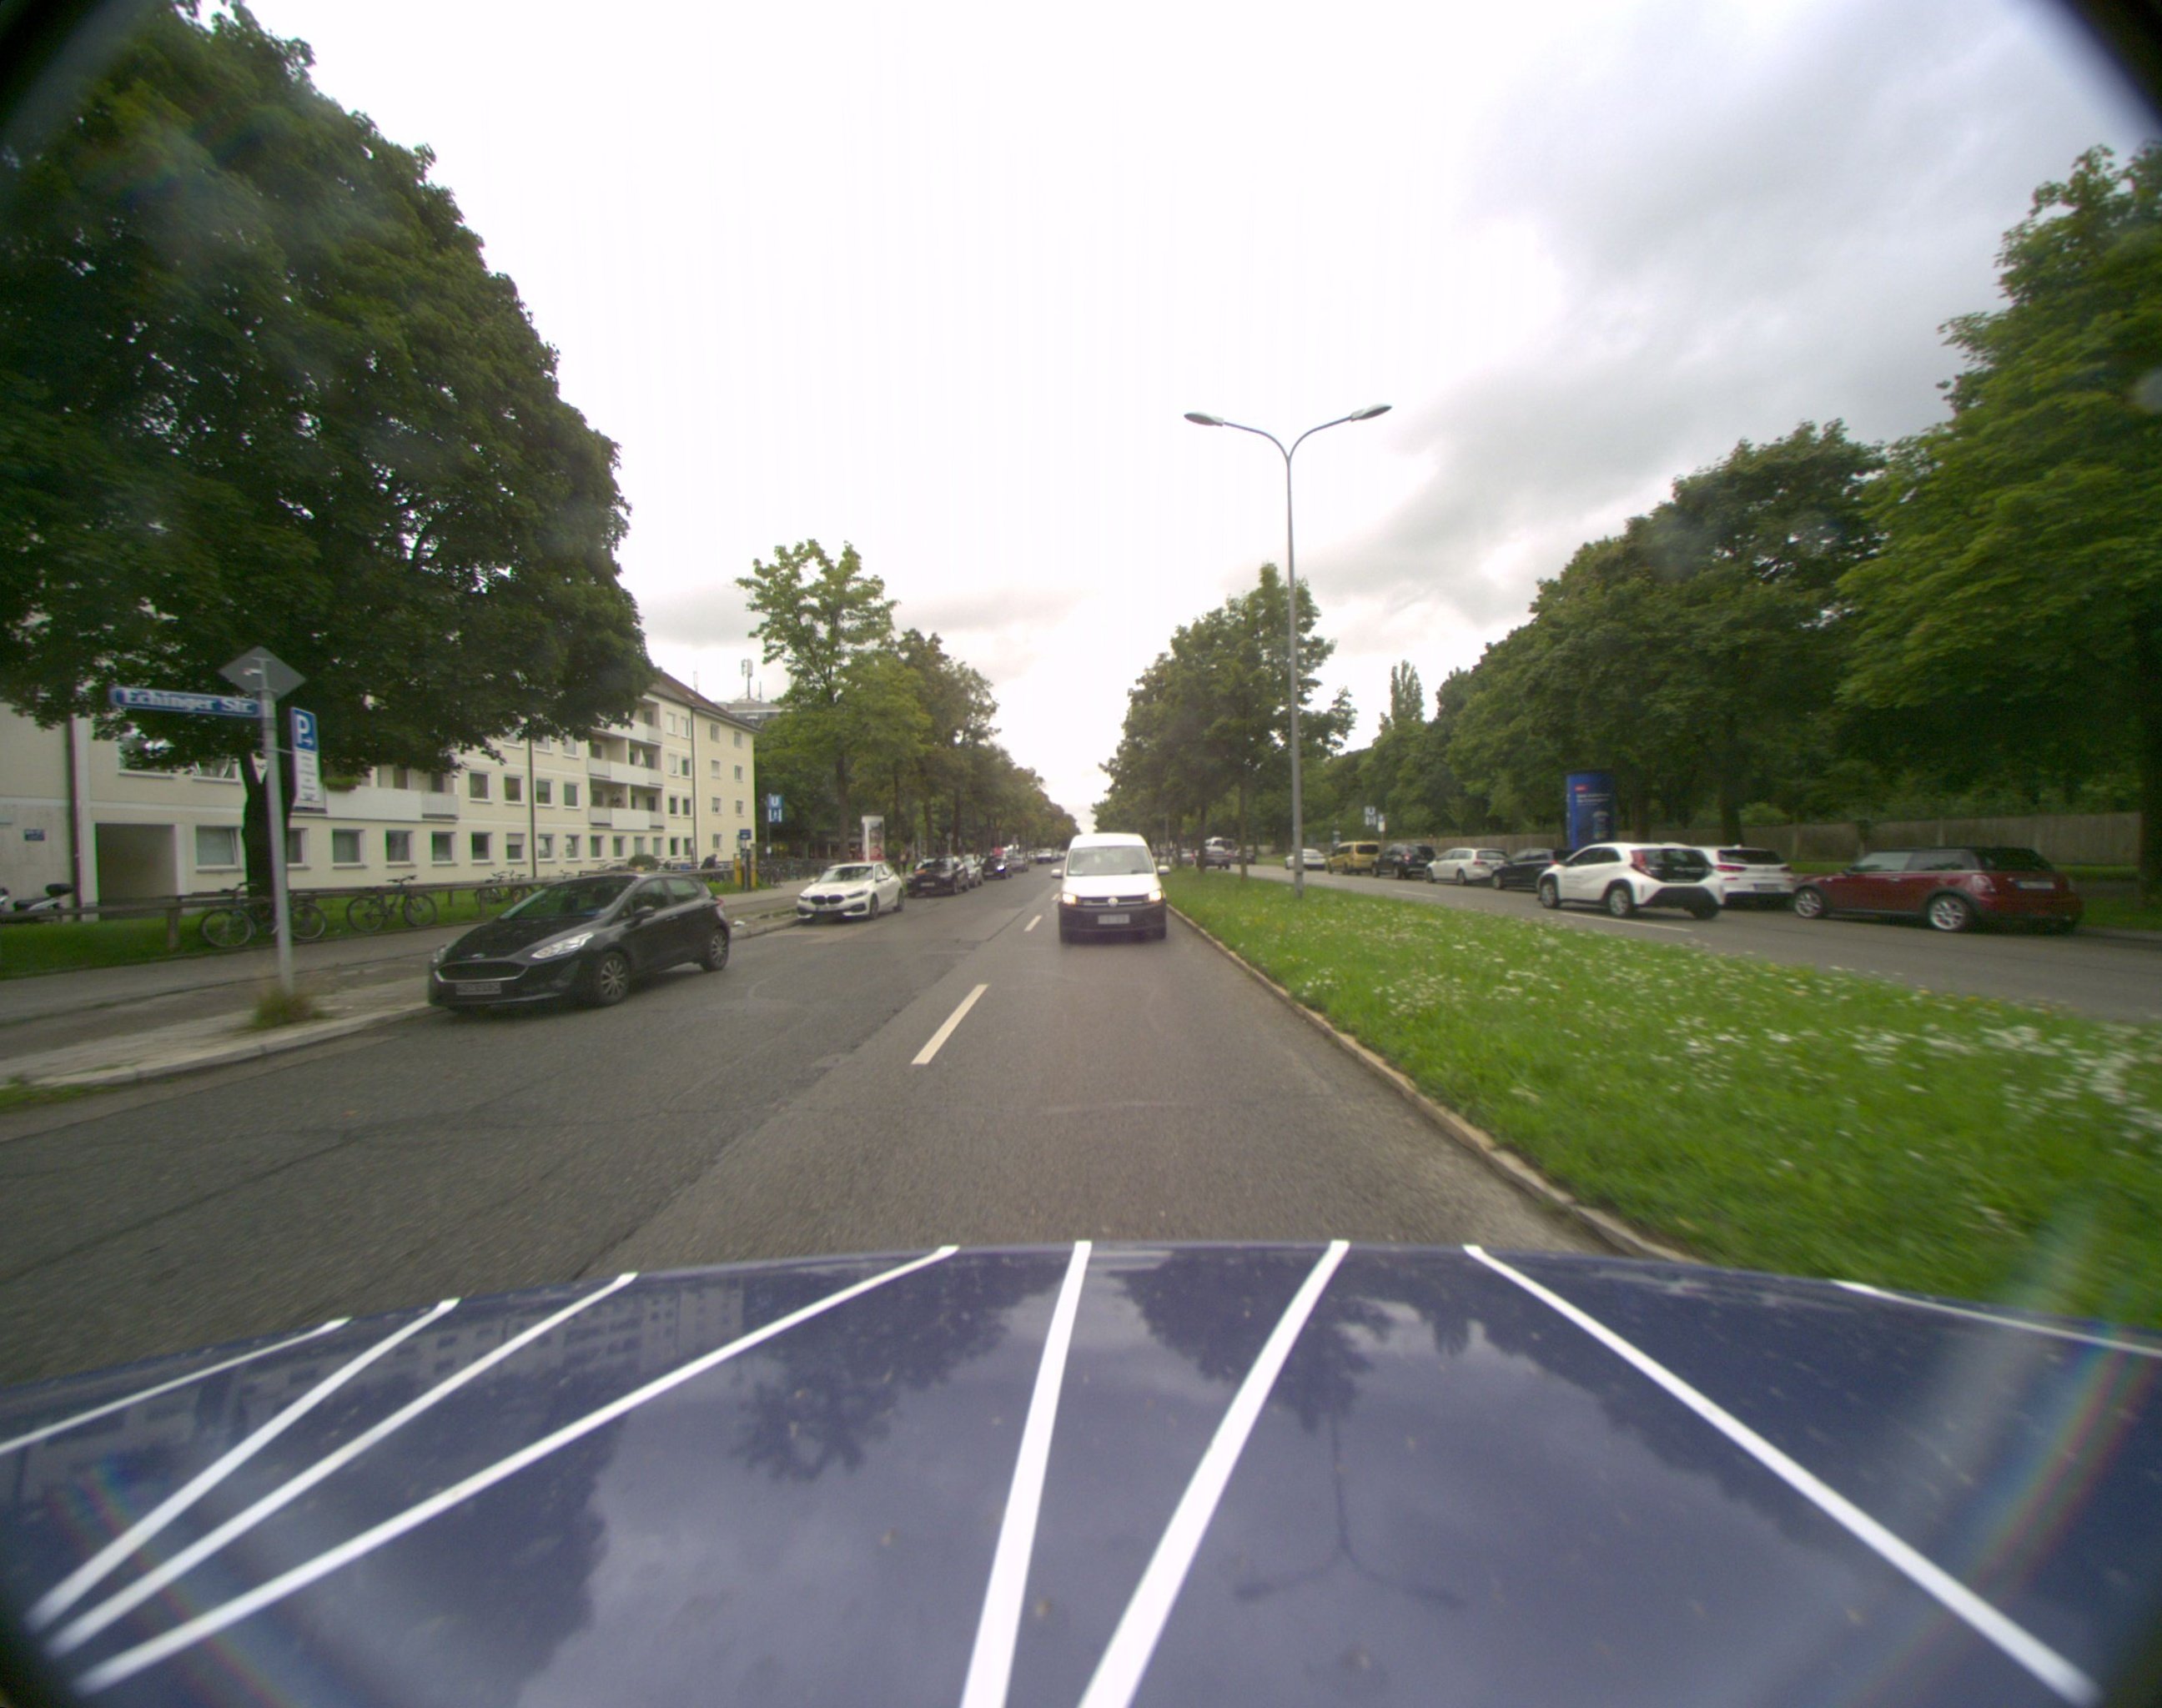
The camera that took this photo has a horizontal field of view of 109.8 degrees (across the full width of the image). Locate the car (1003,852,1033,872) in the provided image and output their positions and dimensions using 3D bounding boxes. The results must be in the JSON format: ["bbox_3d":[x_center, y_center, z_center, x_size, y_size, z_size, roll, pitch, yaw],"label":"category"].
[{"bbox_3d":[-4.938,0.617,60.140,1.827,1.460,4.300,-2,1,1],"label":"car"}]

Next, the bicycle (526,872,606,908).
[{"bbox_3d":[-16.566,1.149,24.470,2.032,1.061,0.663,-2,1,-3],"label":"bicycle"}]

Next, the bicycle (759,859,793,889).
[{"bbox_3d":[-13.113,0.853,32.698,0.545,1.182,2.076,-2,1,2],"label":"bicycle"}]

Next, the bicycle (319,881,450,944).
[{"bbox_3d":[-13.593,1.113,14.887,0.469,1.049,1.771,-2,2,30],"label":"bicycle"}]

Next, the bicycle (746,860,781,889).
[{"bbox_3d":[-14.002,0.873,33.574,0.545,1.182,2.076,-2,1,2],"label":"bicycle"}]

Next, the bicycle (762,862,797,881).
[{"bbox_3d":[-15.844,0.902,39.880,1.599,0.910,0.498,-2,1,-3],"label":"bicycle"}]

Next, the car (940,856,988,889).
[{"bbox_3d":[-5.474,0.815,36.039,1.617,1.372,3.926,-2,1,0],"label":"car"}]

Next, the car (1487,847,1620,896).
[{"bbox_3d":[15.009,0.503,24.394,1.826,1.438,3.787,1,1,-1],"label":"car"}]

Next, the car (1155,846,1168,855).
[{"bbox_3d":[14.461,-0.670,137.181,1.866,1.660,4.500,1,1,1],"label":"car"}]

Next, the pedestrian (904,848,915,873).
[{"bbox_3d":[-11.000,0.425,48.776,0.560,1.595,0.519,-2,1,-18],"label":"pedestrian"}]

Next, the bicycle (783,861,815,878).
[{"bbox_3d":[-15.677,0.844,42.283,1.599,0.910,0.498,0,1,-3],"label":"bicycle"}]

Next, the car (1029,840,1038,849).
[{"bbox_3d":[-12.373,-2.447,196.818,1.999,2.440,4.999,-2,1,0],"label":"car"}]

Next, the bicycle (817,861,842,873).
[{"bbox_3d":[-15.595,0.832,47.198,1.392,0.709,0.498,1,1,-3],"label":"bicycle"}]

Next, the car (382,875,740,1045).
[{"bbox_3d":[-5.941,1.085,9.368,1.648,1.468,3.956,-2,0,0],"label":"car"}]

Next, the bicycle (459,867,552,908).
[{"bbox_3d":[-16.143,0.932,21.344,2.032,1.061,0.663,-2,1,-3],"label":"bicycle"}]

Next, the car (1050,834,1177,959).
[{"bbox_3d":[0.509,0.594,13.465,1.772,1.742,4.545,-3,1,1],"label":"car"}]

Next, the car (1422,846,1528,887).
[{"bbox_3d":[15.253,0.439,29.682,1.826,1.461,4.300,0,1,-1],"label":"car"}]

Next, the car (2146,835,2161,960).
[{"bbox_3d":[14.868,0.585,7.734,1.826,1.621,4.456,0,1,1],"label":"car"}]

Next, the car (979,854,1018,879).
[{"bbox_3d":[-4.957,0.729,46.149,1.827,1.372,4.300,-2,1,0],"label":"car"}]

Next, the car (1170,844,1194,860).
[{"bbox_3d":[9.195,-0.192,69.236,1.722,1.374,3.767,1,1,1],"label":"car"}]

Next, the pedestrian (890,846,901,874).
[{"bbox_3d":[-11.892,0.366,48.627,0.560,1.745,0.656,-2,1,-18],"label":"pedestrian"}]

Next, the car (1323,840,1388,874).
[{"bbox_3d":[15.216,0.129,42.384,1.862,1.761,4.533,0,1,-1],"label":"car"}]

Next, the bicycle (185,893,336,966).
[{"bbox_3d":[-13.713,1.222,12.781,0.448,1.009,1.853,-2,1,2],"label":"bicycle"}]

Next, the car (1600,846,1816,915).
[{"bbox_3d":[15.057,0.555,18.628,1.826,1.468,4.259,1,1,2],"label":"car"}]

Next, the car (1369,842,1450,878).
[{"bbox_3d":[15.470,0.233,36.026,2.007,1.607,4.040,0,1,-1],"label":"car"}]

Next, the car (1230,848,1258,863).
[{"bbox_3d":[15.806,0.078,73.865,1.717,1.401,4.040,0,1,-1],"label":"car"}]

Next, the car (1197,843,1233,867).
[{"bbox_3d":[9.440,0.077,54.009,1.826,1.580,4.501,-2,0,1],"label":"car"}]

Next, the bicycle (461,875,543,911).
[{"bbox_3d":[-18.599,1.239,24.422,2.032,1.061,0.663,-2,1,-3],"label":"bicycle"}]

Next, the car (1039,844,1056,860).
[{"bbox_3d":[-4.269,-0.298,97.990,1.827,1.939,4.300,-2,1,1],"label":"car"}]

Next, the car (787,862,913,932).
[{"bbox_3d":[-5.891,1.042,19.939,1.826,1.428,4.287,-3,1,1],"label":"car"}]

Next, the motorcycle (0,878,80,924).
[{"bbox_3d":[-27.952,1.223,20.144,0.606,1.113,1.622,-1,1,2],"label":"motorcycle"}]

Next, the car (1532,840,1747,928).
[{"bbox_3d":[11.263,0.527,15.689,1.825,1.544,3.721,-2,1,3],"label":"car"}]

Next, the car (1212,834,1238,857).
[{"bbox_3d":[16.319,-0.995,86.324,1.999,2.576,4.499,0,1,-1],"label":"car"}]

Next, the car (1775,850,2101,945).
[{"bbox_3d":[14.847,0.655,13.519,1.654,1.414,3.687,1,1,2],"label":"car"}]

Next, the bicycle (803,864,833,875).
[{"bbox_3d":[-15.869,0.919,45.843,1.599,0.634,0.498,1,1,-3],"label":"bicycle"}]

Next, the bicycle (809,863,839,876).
[{"bbox_3d":[-15.760,0.946,46.587,1.599,0.691,0.498,-2,1,-3],"label":"bicycle"}]

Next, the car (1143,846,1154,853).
[{"bbox_3d":[14.419,-1.009,162.374,1.866,1.448,4.500,1,1,1],"label":"car"}]

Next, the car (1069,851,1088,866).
[{"bbox_3d":[-0.259,0.519,88.693,1.984,1.591,4.402,1,1,1],"label":"car"}]

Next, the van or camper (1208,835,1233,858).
[{"bbox_3d":[16.735,-0.915,91.514,1.999,2.791,4.931,0,1,-1],"label":"van or camper"}]

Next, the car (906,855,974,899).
[{"bbox_3d":[-5.468,0.837,30.003,1.826,1.503,4.157,-2,1,1],"label":"car"}]

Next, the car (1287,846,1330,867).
[{"bbox_3d":[15.698,0.131,52.678,1.717,1.434,4.040,0,1,-1],"label":"car"}]

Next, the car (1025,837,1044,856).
[{"bbox_3d":[-6.187,-1.031,101.636,1.998,2.441,4.999,-2,1,2],"label":"car"}]

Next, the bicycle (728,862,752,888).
[{"bbox_3d":[-15.217,0.911,33.941,0.466,1.110,1.253,-2,1,2],"label":"bicycle"}]
